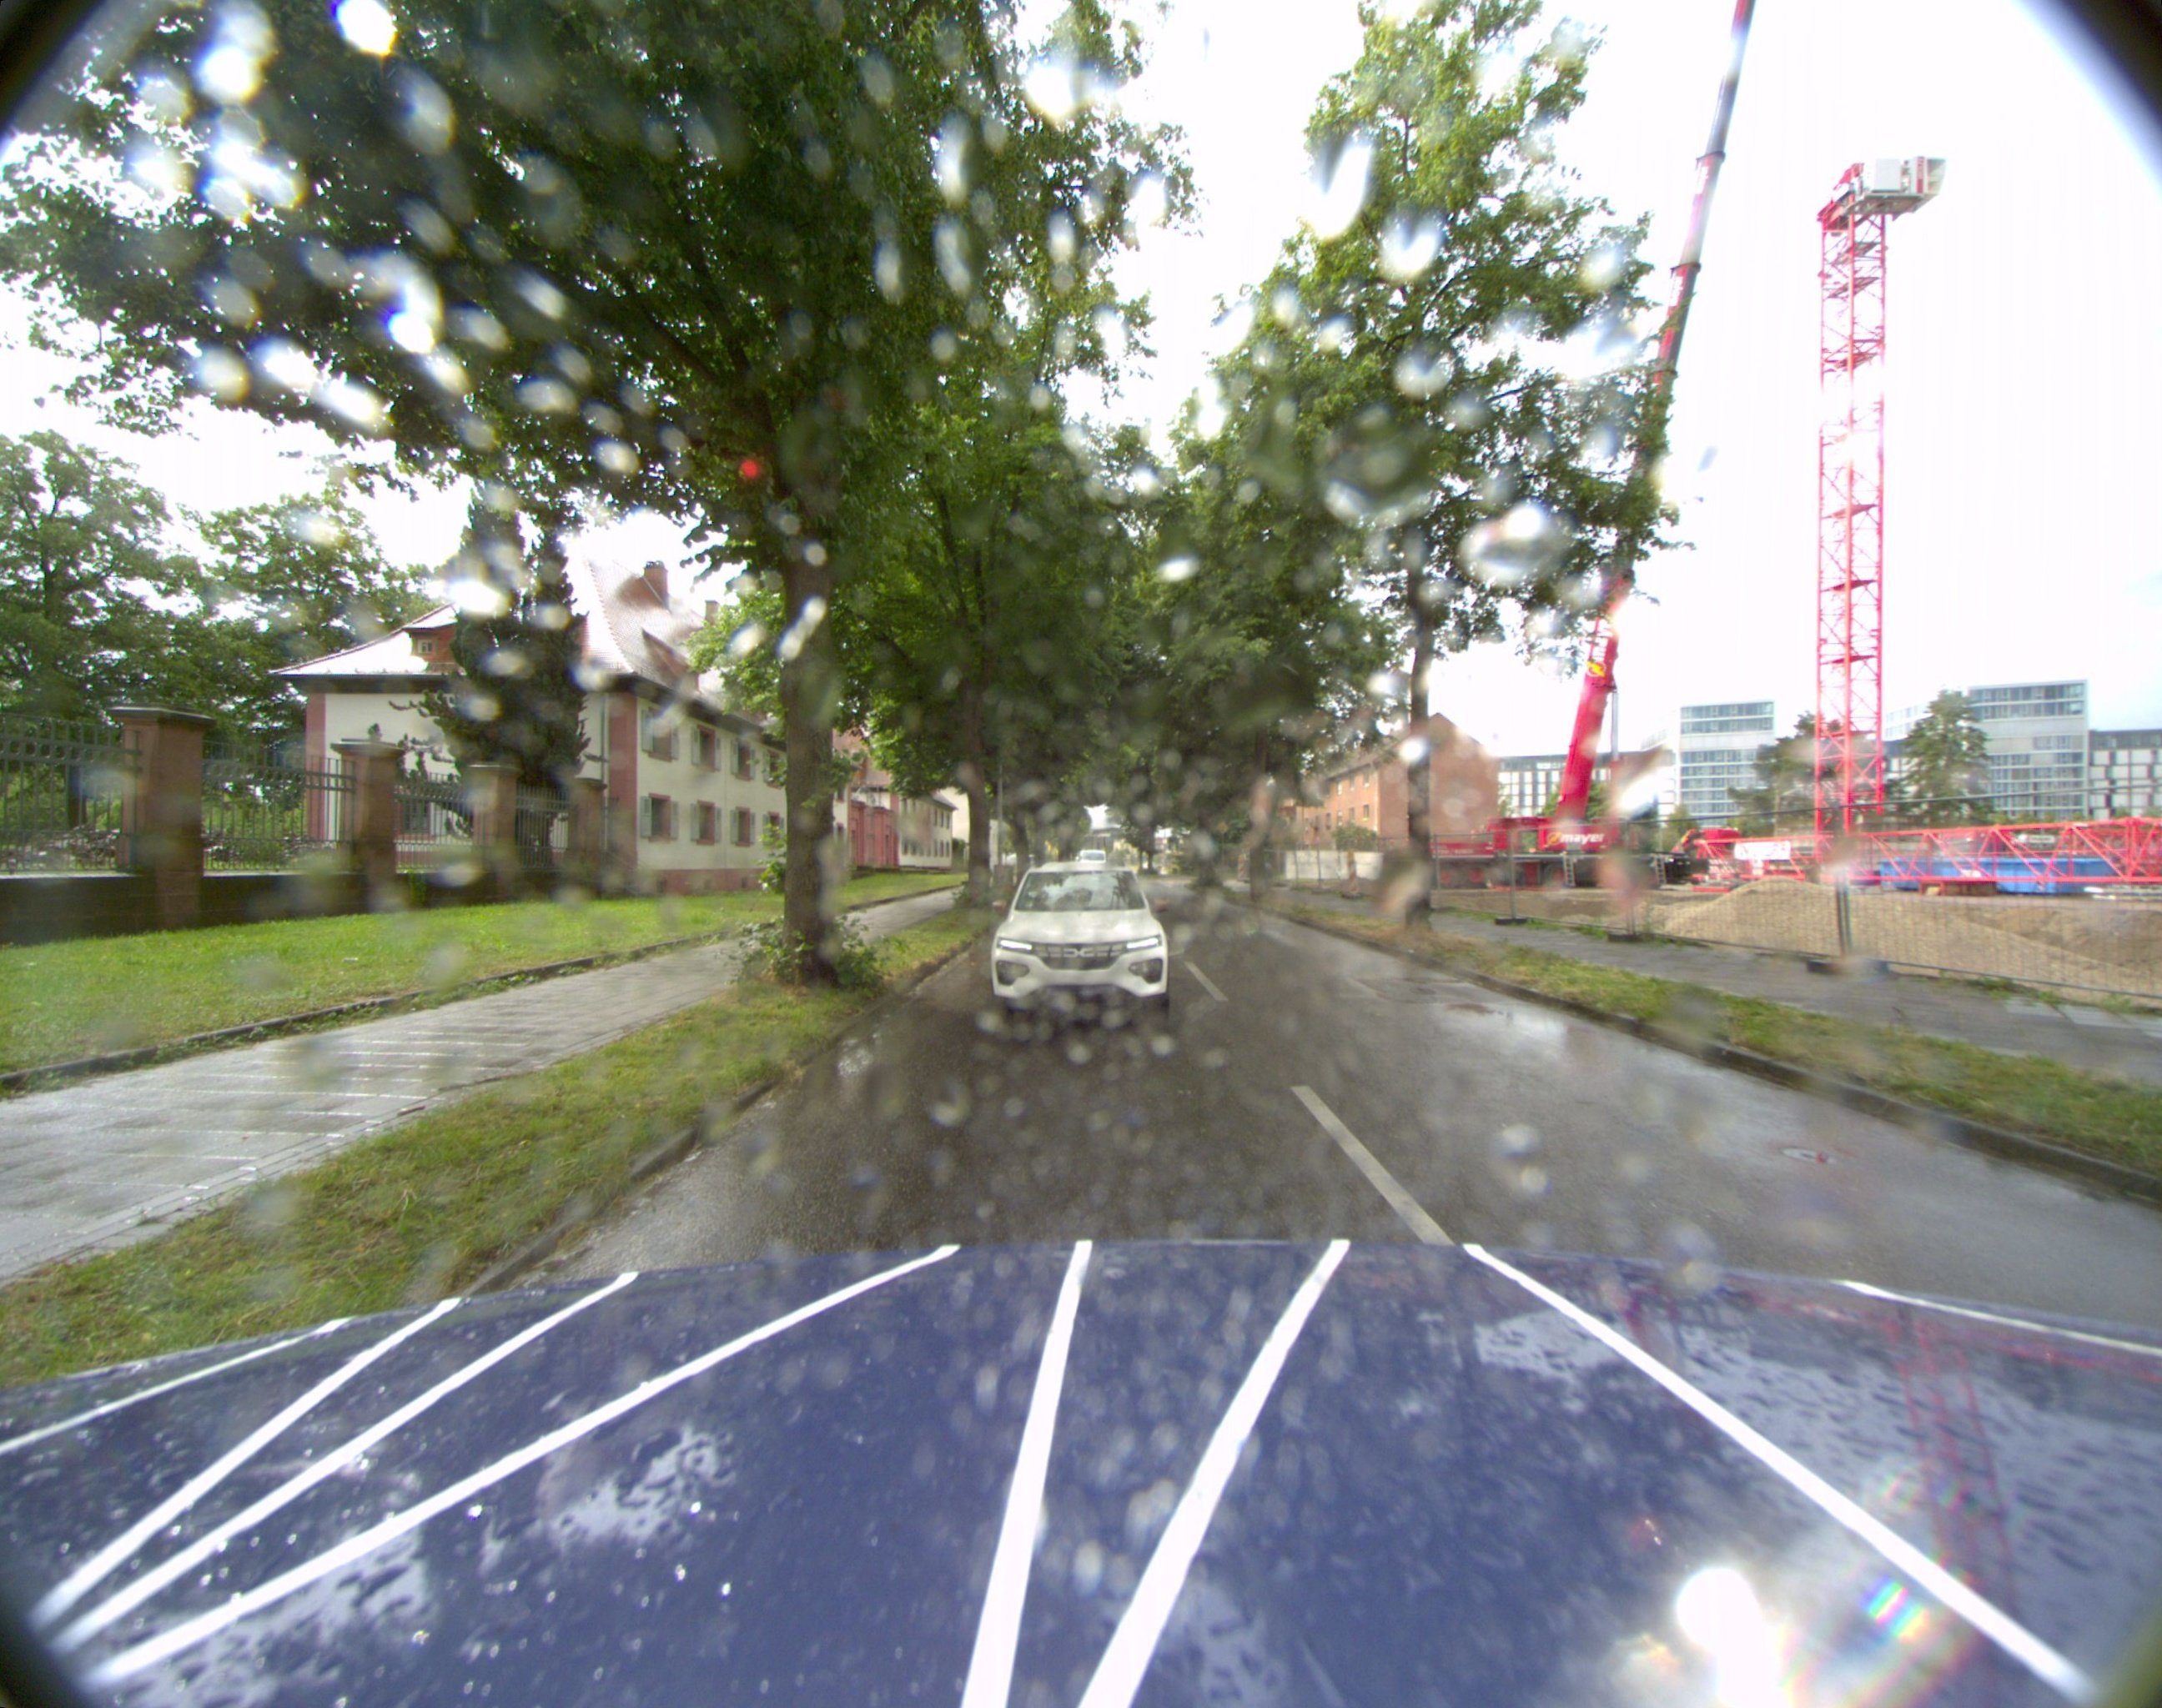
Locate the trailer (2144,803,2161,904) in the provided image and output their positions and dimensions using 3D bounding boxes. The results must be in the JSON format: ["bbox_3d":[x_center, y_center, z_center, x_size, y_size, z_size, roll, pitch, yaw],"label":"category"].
[{"bbox_3d":[35.690,-0.041,17.290,2.968,3.214,14.309,-4,0,0],"label":"trailer"}]

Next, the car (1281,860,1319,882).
[{"bbox_3d":[16.891,1.256,58.675,1.693,1.521,3.999,-2,1,-1],"label":"car"}]

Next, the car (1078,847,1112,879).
[{"bbox_3d":[0.895,0.536,51.978,2.107,1.990,5.433,-2,1,-1],"label":"car"}]

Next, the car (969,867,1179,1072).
[{"bbox_3d":[-0.012,0.939,7.943,1.608,1.499,4.000,-1,0,1],"label":"car"}]

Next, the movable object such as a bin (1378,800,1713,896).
[{"bbox_3d":[24.951,-0.315,41.579,15.941,4.532,3.102,-2,1,4],"label":"movable object such as a bin"}]
